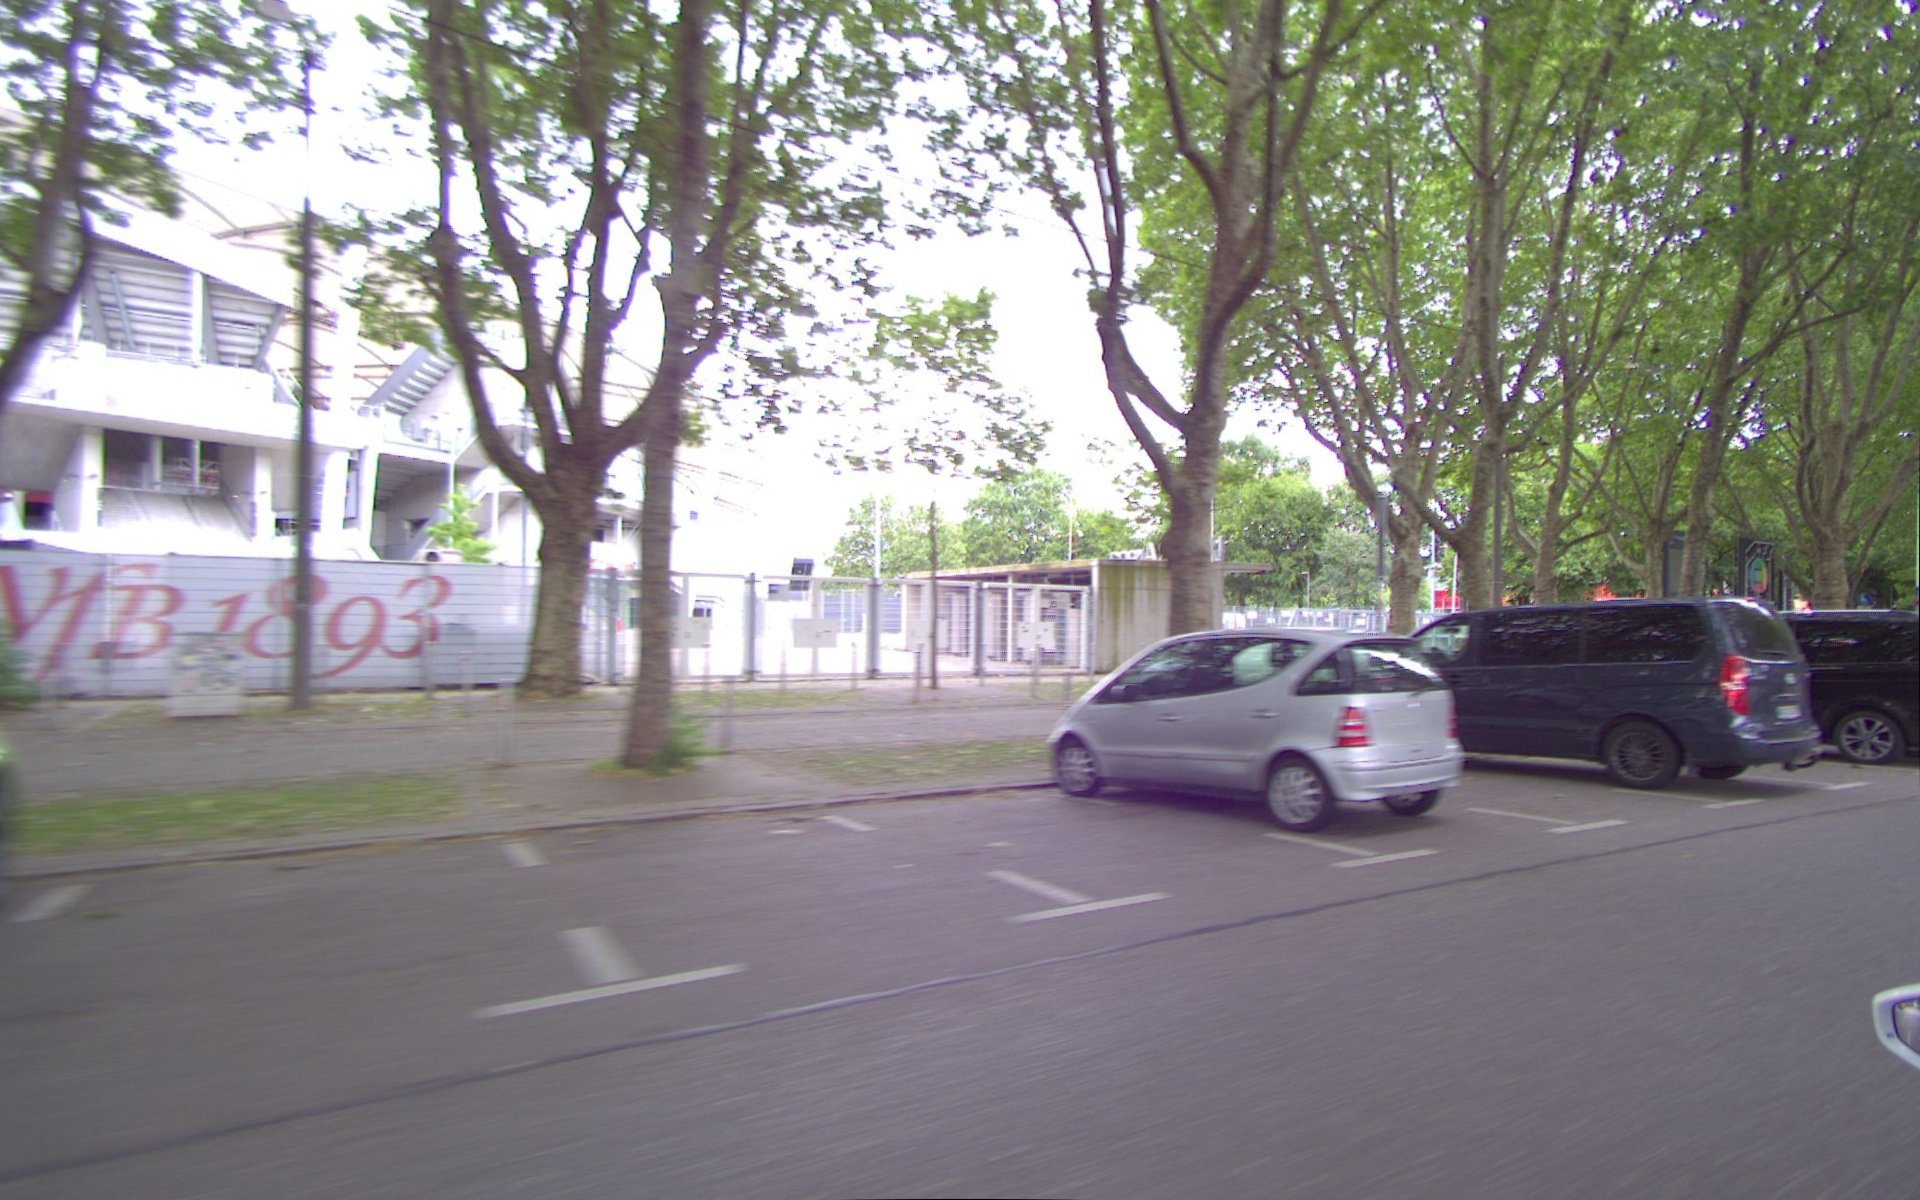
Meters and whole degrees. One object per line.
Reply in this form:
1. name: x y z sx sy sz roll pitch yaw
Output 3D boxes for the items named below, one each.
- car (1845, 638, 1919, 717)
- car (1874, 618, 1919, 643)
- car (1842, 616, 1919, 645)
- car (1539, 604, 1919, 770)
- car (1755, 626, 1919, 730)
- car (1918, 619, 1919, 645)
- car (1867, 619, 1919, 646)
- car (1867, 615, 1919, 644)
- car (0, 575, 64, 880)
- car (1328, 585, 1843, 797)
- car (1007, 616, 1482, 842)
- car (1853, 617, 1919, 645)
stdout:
1. car: 19.684 1.487 19.290 1.741 1.513 3.861 2 -4 -42
2. car: 88.659 2.862 92.757 1.976 2.270 5.973 1 0 -30
3. car: 80.534 2.637 86.934 1.976 2.282 5.973 1 0 -30
4. car: 11.211 1.110 14.154 2.181 1.949 4.885 1 -2 -29
5. car: 17.436 1.363 18.071 1.775 1.805 4.562 0 -2 -28
6. car: 97.041 3.247 97.211 1.976 2.560 5.973 1 0 -30
7. car: 84.998 2.922 89.455 1.976 2.349 5.973 1 0 -30
8. car: 86.838 2.722 91.468 1.976 2.560 5.973 1 0 -30
9. car: -5.320 0.653 3.819 1.735 1.639 4.499 1 -1 -27
10. car: 6.963 0.928 11.766 1.997 1.949 4.733 1 -2 -34
11. car: 2.344 1.019 9.304 1.740 1.589 4.080 1 -3 -34
12. car: 82.555 2.703 88.163 1.976 2.282 5.973 1 0 -30
